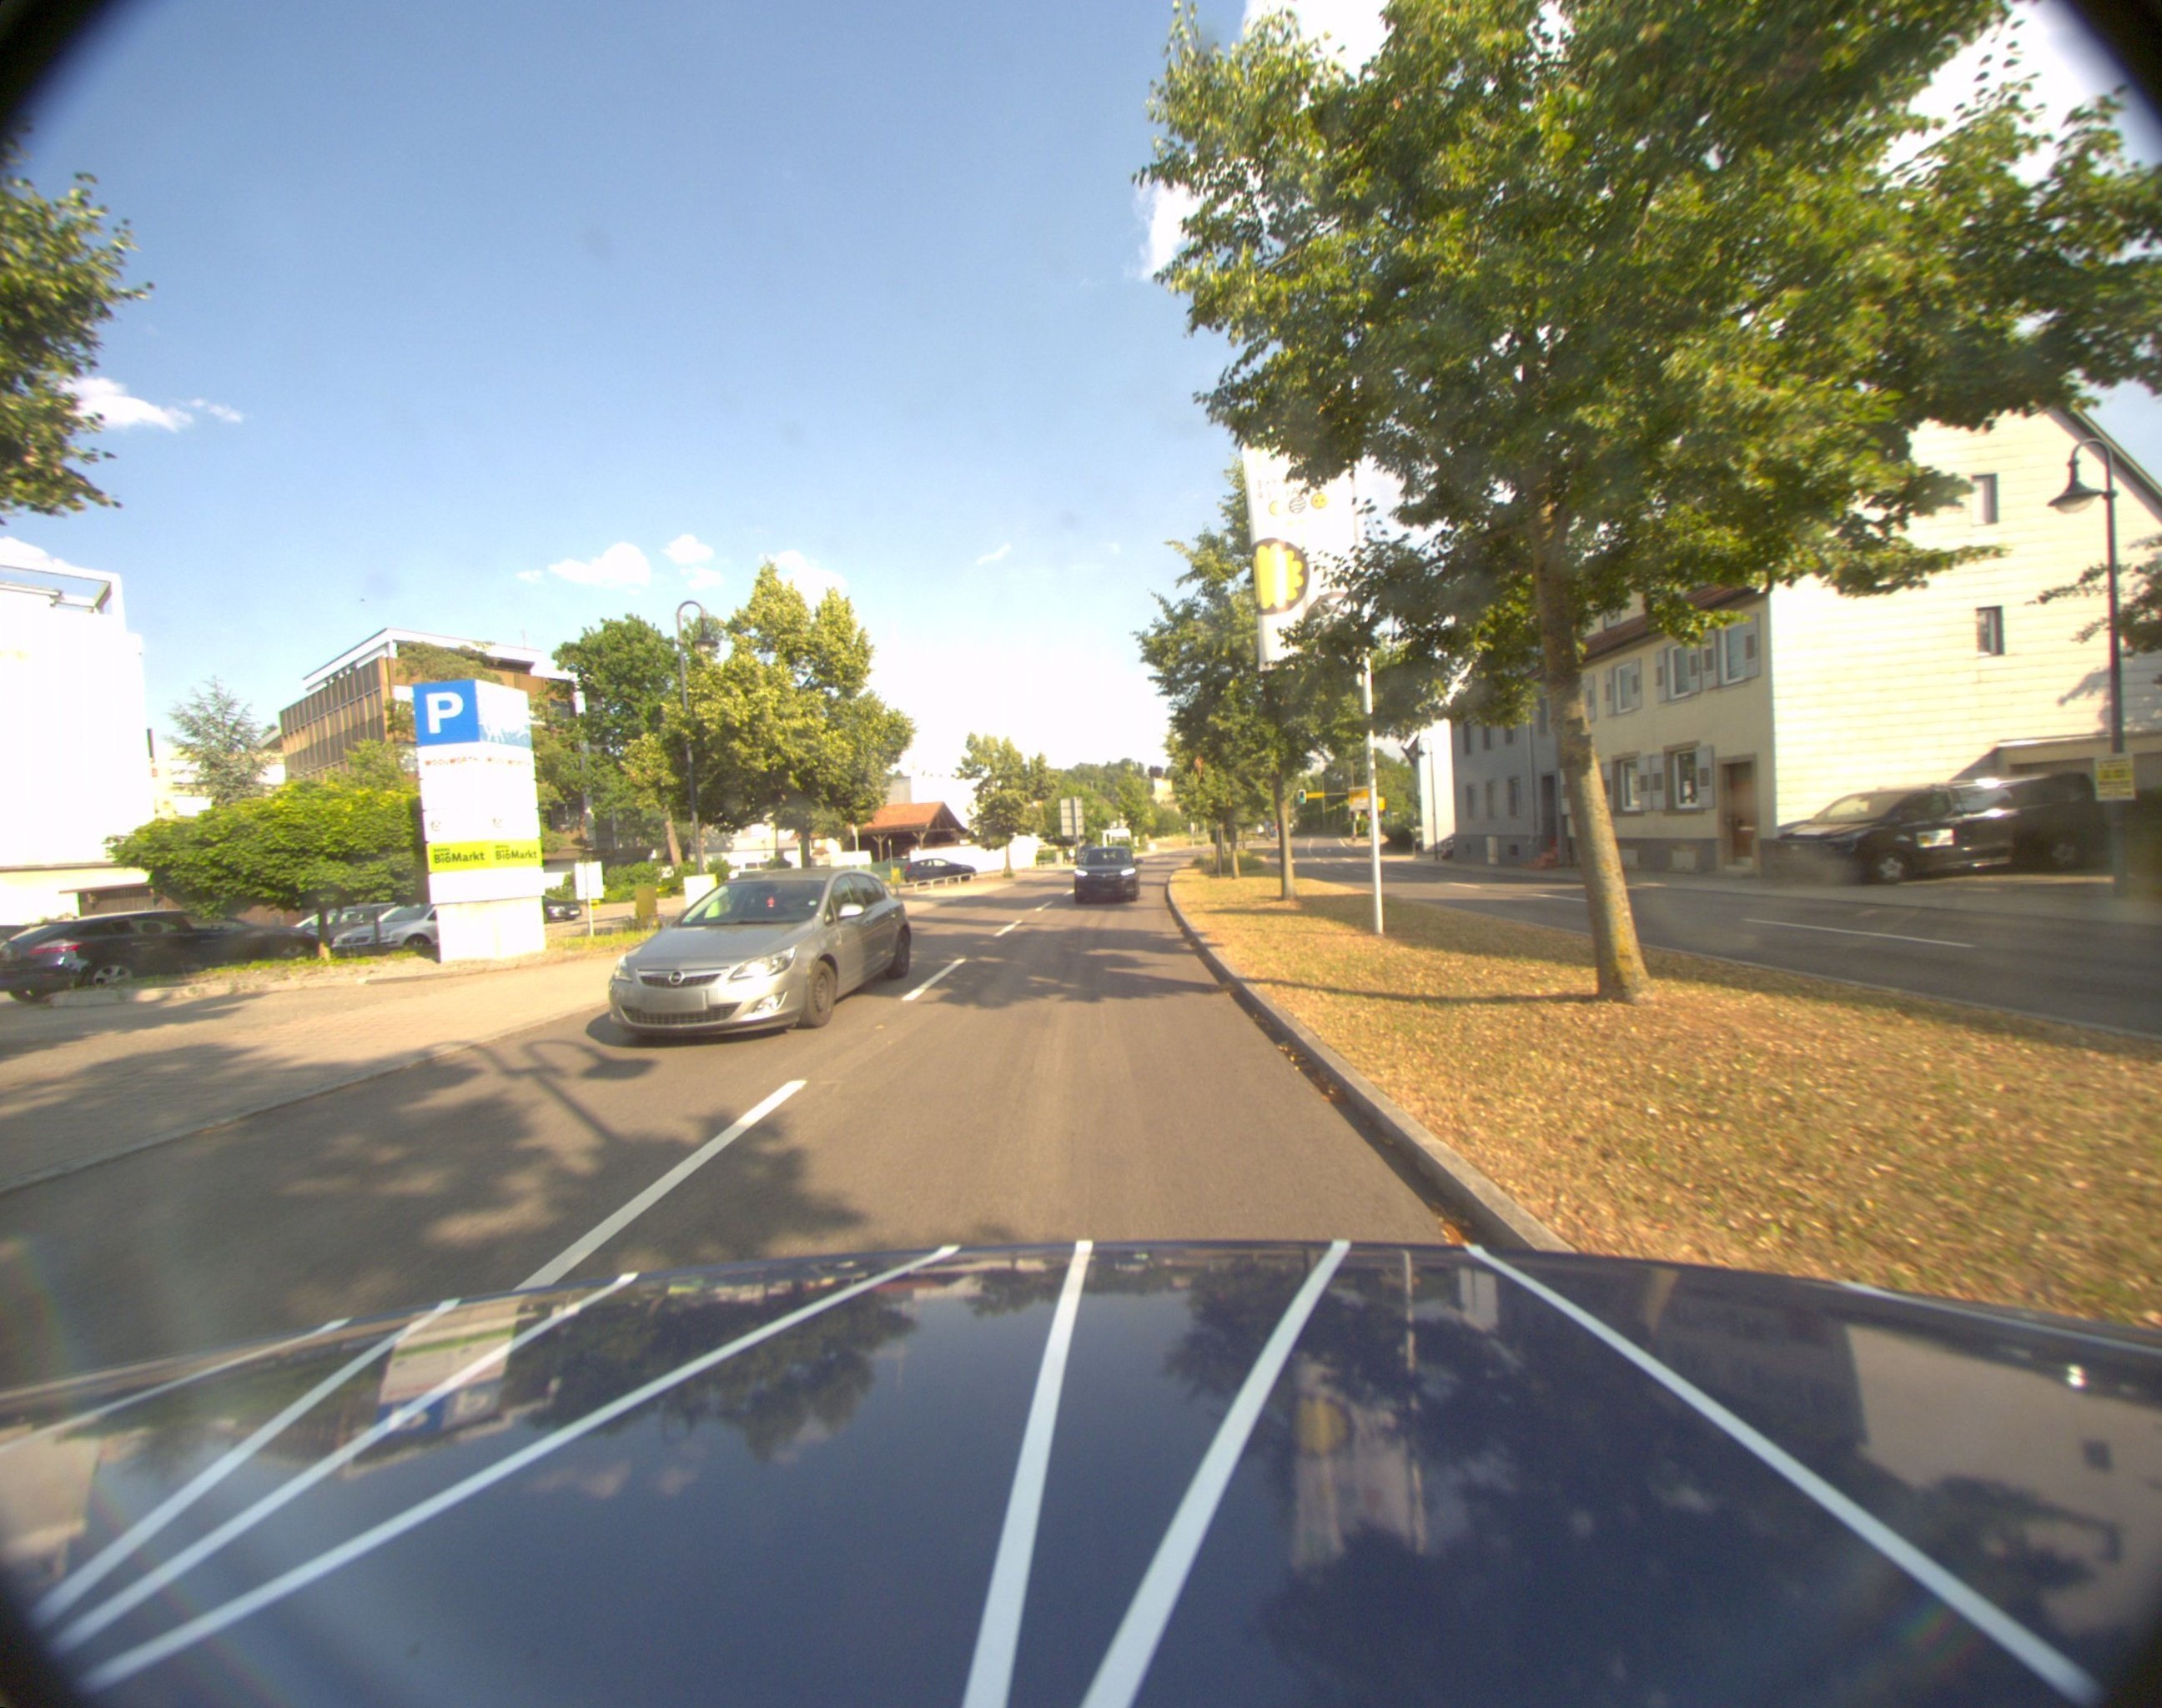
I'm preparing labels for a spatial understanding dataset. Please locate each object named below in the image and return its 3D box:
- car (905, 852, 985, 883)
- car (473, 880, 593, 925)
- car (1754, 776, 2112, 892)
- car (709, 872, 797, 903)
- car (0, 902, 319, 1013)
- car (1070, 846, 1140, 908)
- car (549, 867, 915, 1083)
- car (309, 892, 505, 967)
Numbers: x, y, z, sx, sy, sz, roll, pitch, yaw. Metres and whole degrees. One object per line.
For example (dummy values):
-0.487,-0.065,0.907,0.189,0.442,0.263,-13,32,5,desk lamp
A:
-7.497,0.743,42.025,3.833,1.412,1.939,-4,1,8,car
-24.123,2.136,33.515,4.078,1.645,1.939,-4,1,11,car
17.657,-0.387,16.014,4.834,1.866,2.001,-5,1,7,car
-18.271,1.857,42.440,3.995,1.412,1.939,-4,1,8,car
-17.206,1.816,14.201,1.656,1.454,3.868,-4,1,9,car
0.801,0.588,22.390,1.724,1.605,4.262,-2,1,5,car
-3.149,0.968,7.984,1.725,1.481,4.306,-3,1,1,car
-16.386,1.784,18.692,1.614,1.391,3.268,-4,1,7,car
